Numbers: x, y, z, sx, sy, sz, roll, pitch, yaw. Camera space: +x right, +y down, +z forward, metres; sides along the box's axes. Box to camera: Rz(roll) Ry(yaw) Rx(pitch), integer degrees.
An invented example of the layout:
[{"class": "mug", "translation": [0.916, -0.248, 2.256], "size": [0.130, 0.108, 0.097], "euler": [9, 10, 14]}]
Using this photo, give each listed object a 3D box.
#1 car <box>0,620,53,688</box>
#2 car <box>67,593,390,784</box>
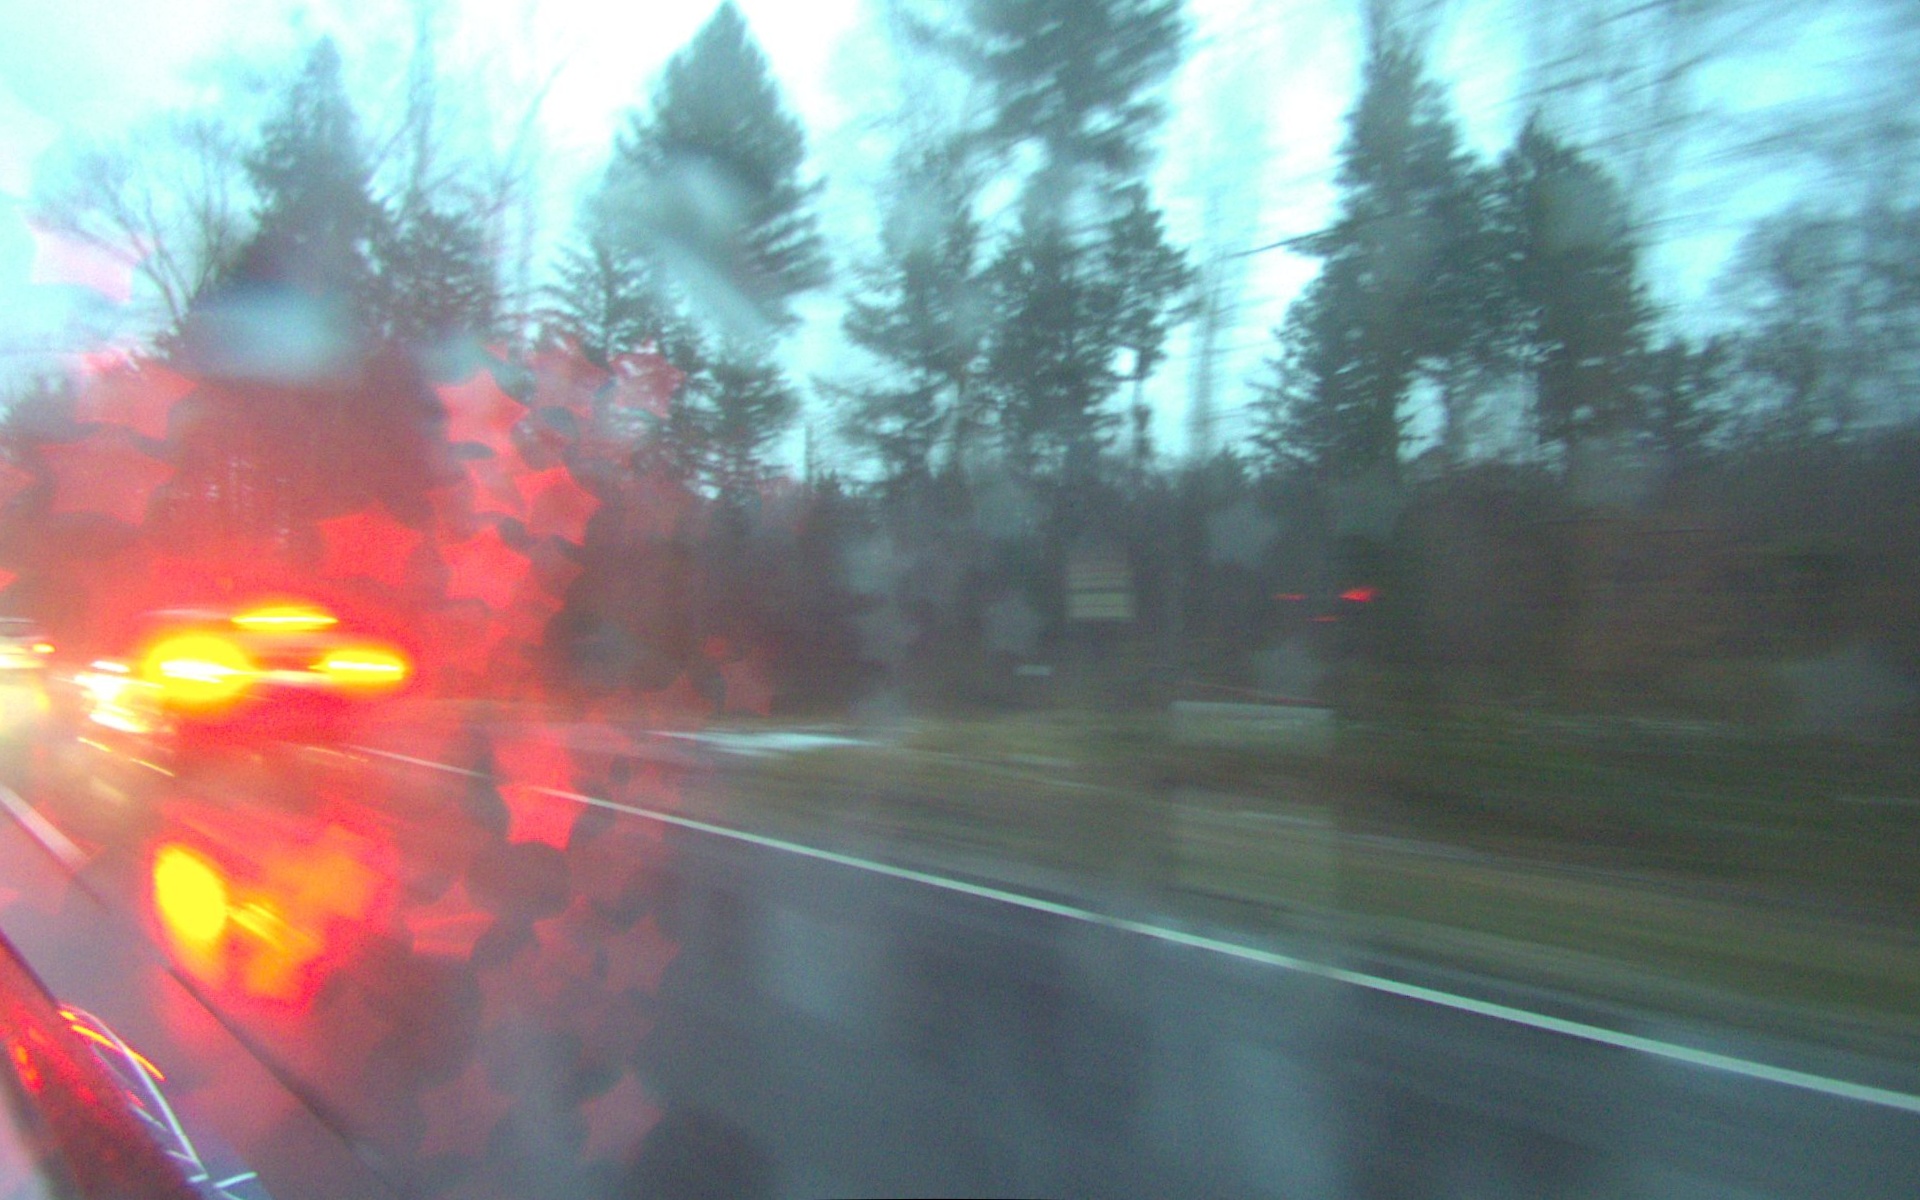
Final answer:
[{"class": "car", "translation": [-24.177, 1.311, 25.280], "size": [3.860, 1.612, 1.781], "euler": [-1, -3, 41]}, {"class": "car", "translation": [-8.125, 0.877, 11.058], "size": [4.747, 1.661, 1.803], "euler": [-2, -4, 41]}]
